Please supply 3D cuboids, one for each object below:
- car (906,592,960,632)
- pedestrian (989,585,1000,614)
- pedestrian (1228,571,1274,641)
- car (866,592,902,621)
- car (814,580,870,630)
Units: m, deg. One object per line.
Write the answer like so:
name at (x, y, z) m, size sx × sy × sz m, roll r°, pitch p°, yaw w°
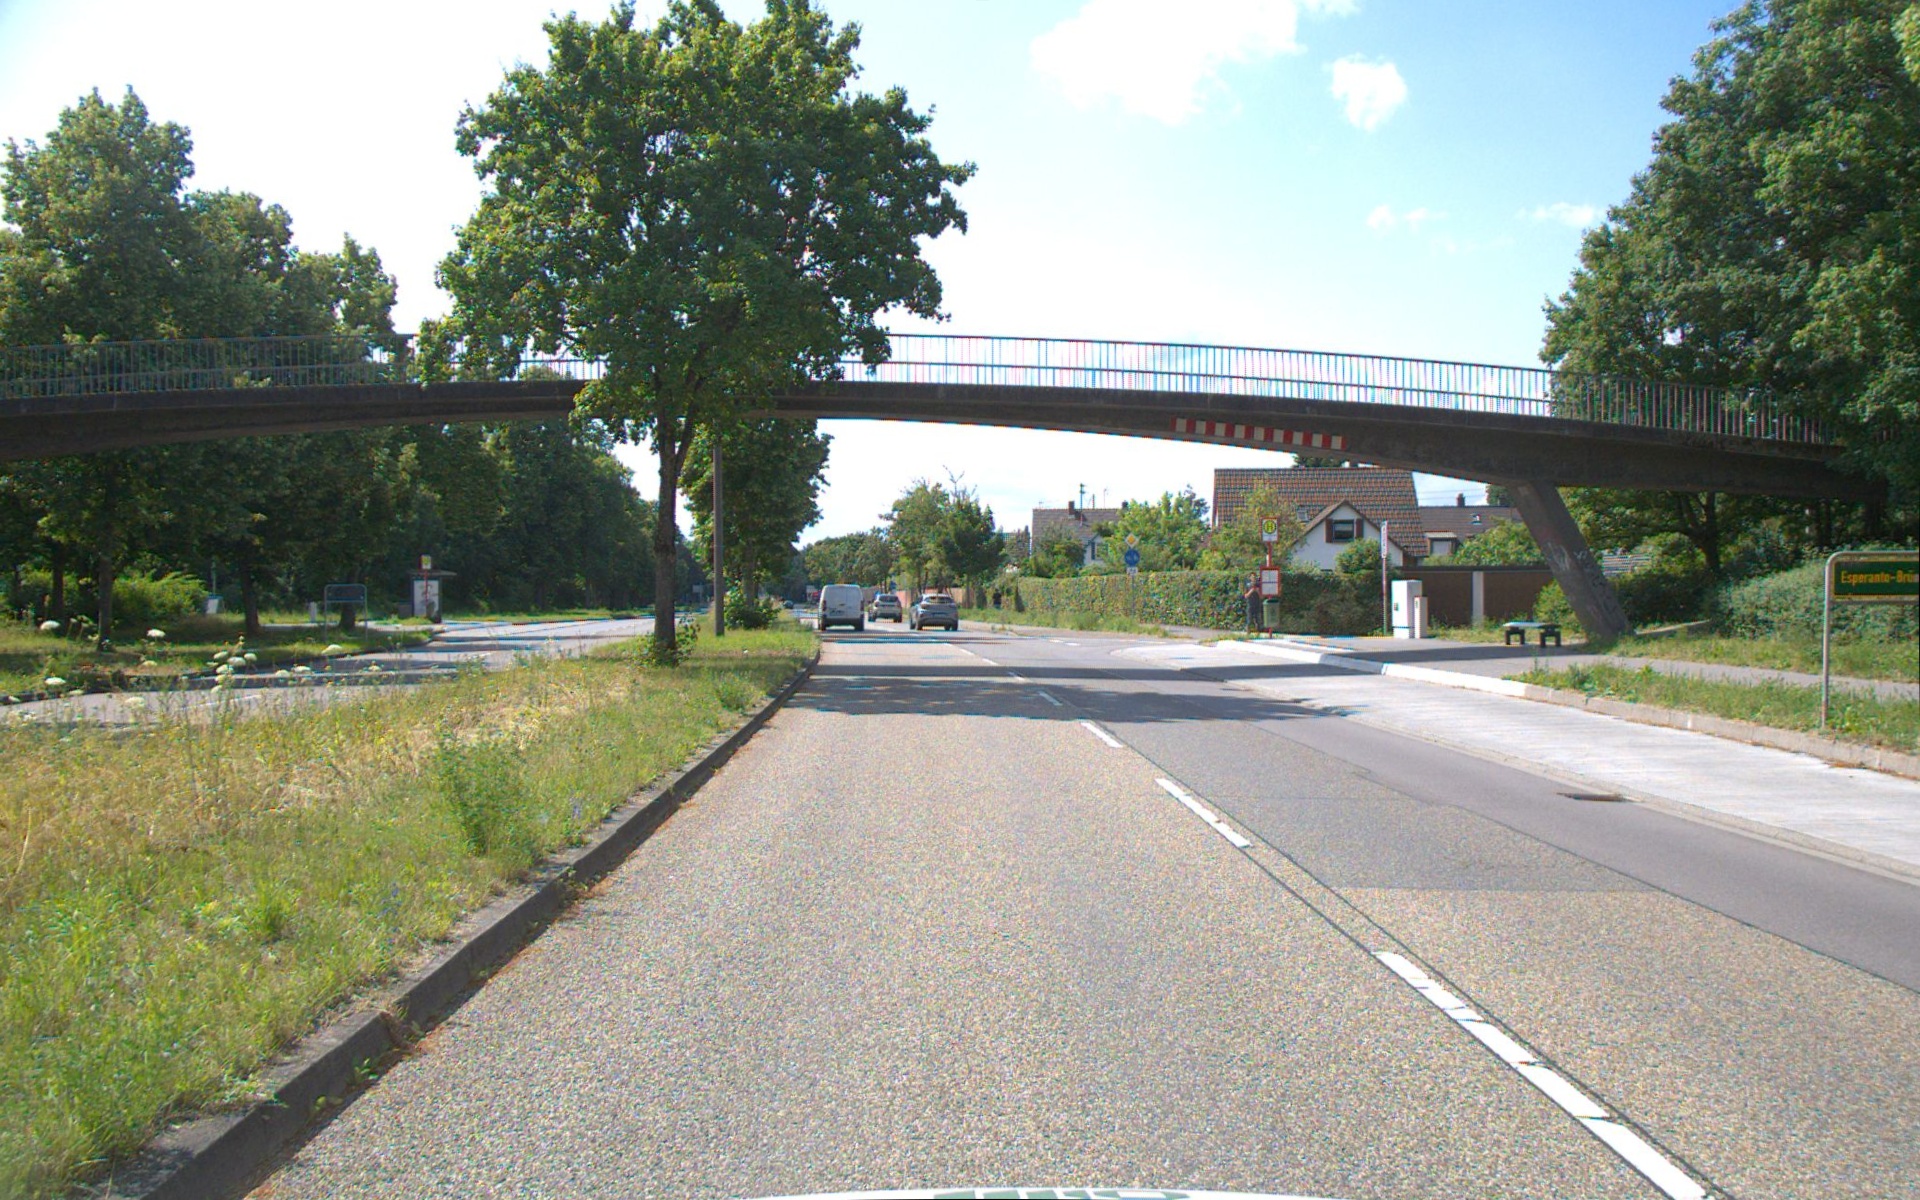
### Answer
car at (-1.175, 0.498, 70.442) m, size 1.839 × 1.617 × 4.178 m, roll 0°, pitch 0°, yaw -7°
pedestrian at (2.096, -0.033, 99.889) m, size 0.549 × 1.706 × 0.633 m, roll 0°, pitch 0°, yaw -8°
pedestrian at (8.038, 0.178, 45.689) m, size 0.935 × 1.856 × 1.086 m, roll -2°, pitch -2°, yaw -5°
car at (-4.523, 0.398, 98.139) m, size 1.839 × 1.681 × 3.994 m, roll 0°, pitch 0°, yaw -7°
car at (-4.877, 0.192, 67.719) m, size 2.027 × 1.945 × 4.638 m, roll 0°, pitch 0°, yaw -7°
